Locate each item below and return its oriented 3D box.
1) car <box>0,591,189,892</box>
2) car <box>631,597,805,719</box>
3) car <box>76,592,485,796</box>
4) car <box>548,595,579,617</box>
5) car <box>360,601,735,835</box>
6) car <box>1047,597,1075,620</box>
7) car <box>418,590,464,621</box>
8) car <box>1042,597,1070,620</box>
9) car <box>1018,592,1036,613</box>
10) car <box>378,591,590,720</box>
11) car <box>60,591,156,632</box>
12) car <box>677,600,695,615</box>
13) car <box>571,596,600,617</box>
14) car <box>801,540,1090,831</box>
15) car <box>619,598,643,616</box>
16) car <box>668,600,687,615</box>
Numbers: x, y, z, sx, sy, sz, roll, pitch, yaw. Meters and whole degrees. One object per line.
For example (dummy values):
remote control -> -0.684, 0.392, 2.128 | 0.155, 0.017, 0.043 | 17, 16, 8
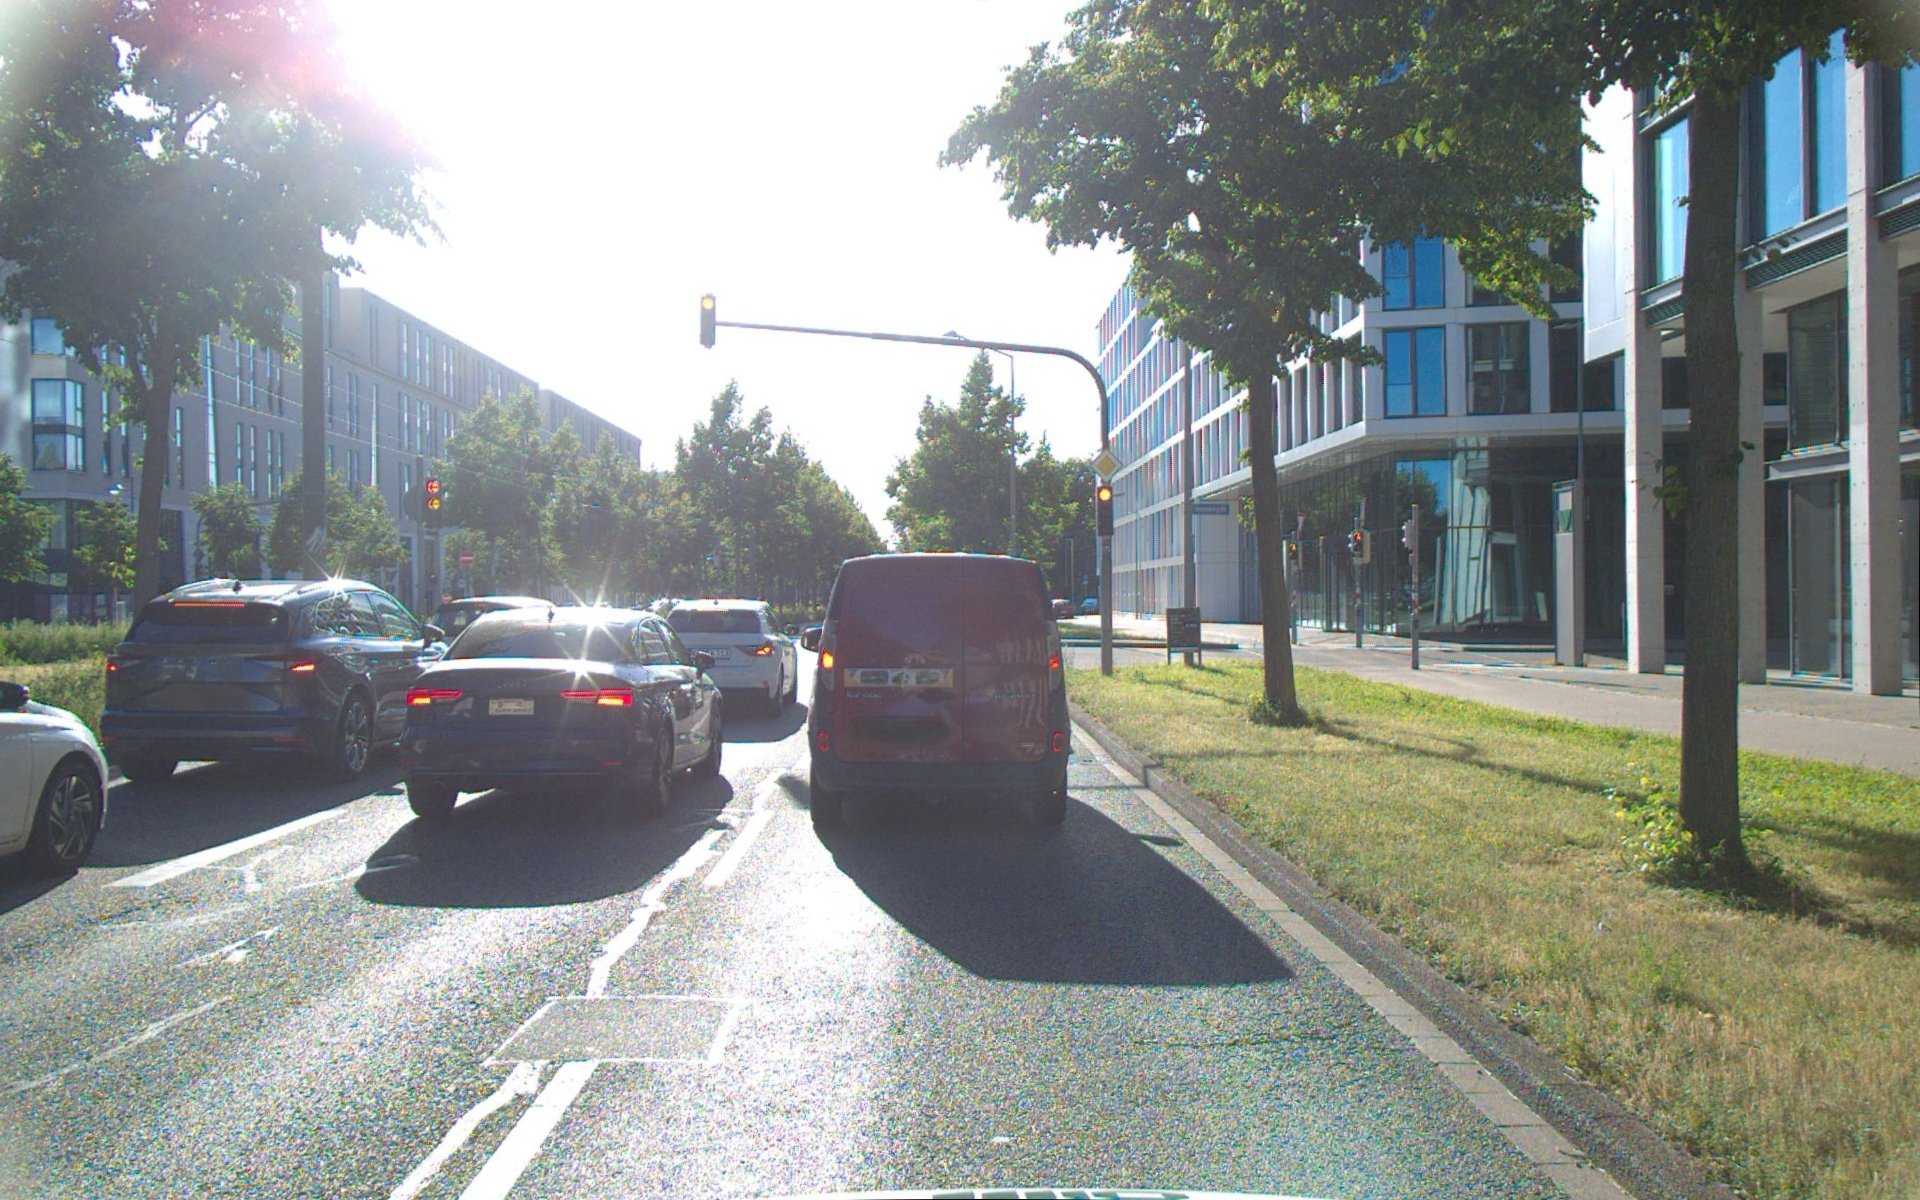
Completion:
car -> -5.579, 0.697, 7.907 | 1.763, 1.473, 4.567 | 0, 0, -2
car -> -3.078, 0.689, 21.728 | 1.767, 1.451, 3.900 | 0, 0, -1
car -> -5.707, 0.691, 14.584 | 1.762, 1.473, 4.567 | -1, 0, -1
car -> -36.641, 0.544, 152.999 | 1.953, 2.049, 3.999 | 0, 0, -1
car -> -2.861, 0.735, 12.473 | 1.804, 1.451, 4.338 | 0, 0, -1
car -> 8.082, 0.656, 132.318 | 1.953, 1.813, 3.999 | 0, 0, -1
car -> -35.508, 0.380, 113.339 | 1.953, 2.049, 3.999 | 0, 0, -1
car -> 7.953, 0.688, 137.325 | 1.953, 1.813, 3.999 | 0, 0, -1
car -> 8.241, 0.319, 202.749 | 1.953, 2.541, 4.985 | 0, 0, -1
car -> -6.389, 0.688, 22.716 | 1.764, 1.509, 4.565 | 3, 0, -4
car -> -33.359, 0.423, 64.885 | 1.729, 1.546, 3.999 | 0, 0, -1
car -> -37.535, 1.046, 226.522 | 1.953, 2.049, 3.999 | 0, 0, -1
car -> -36.670, 0.609, 162.098 | 1.953, 2.049, 3.999 | 0, 0, -1
car -> -0.120, 0.531, 12.337 | 1.804, 1.812, 3.999 | 0, 0, -1
car -> -37.035, 0.770, 186.077 | 1.953, 2.049, 3.999 | 0, 0, -1
car -> -37.715, 0.998, 220.895 | 1.953, 2.049, 3.999 | 0, 0, -1
